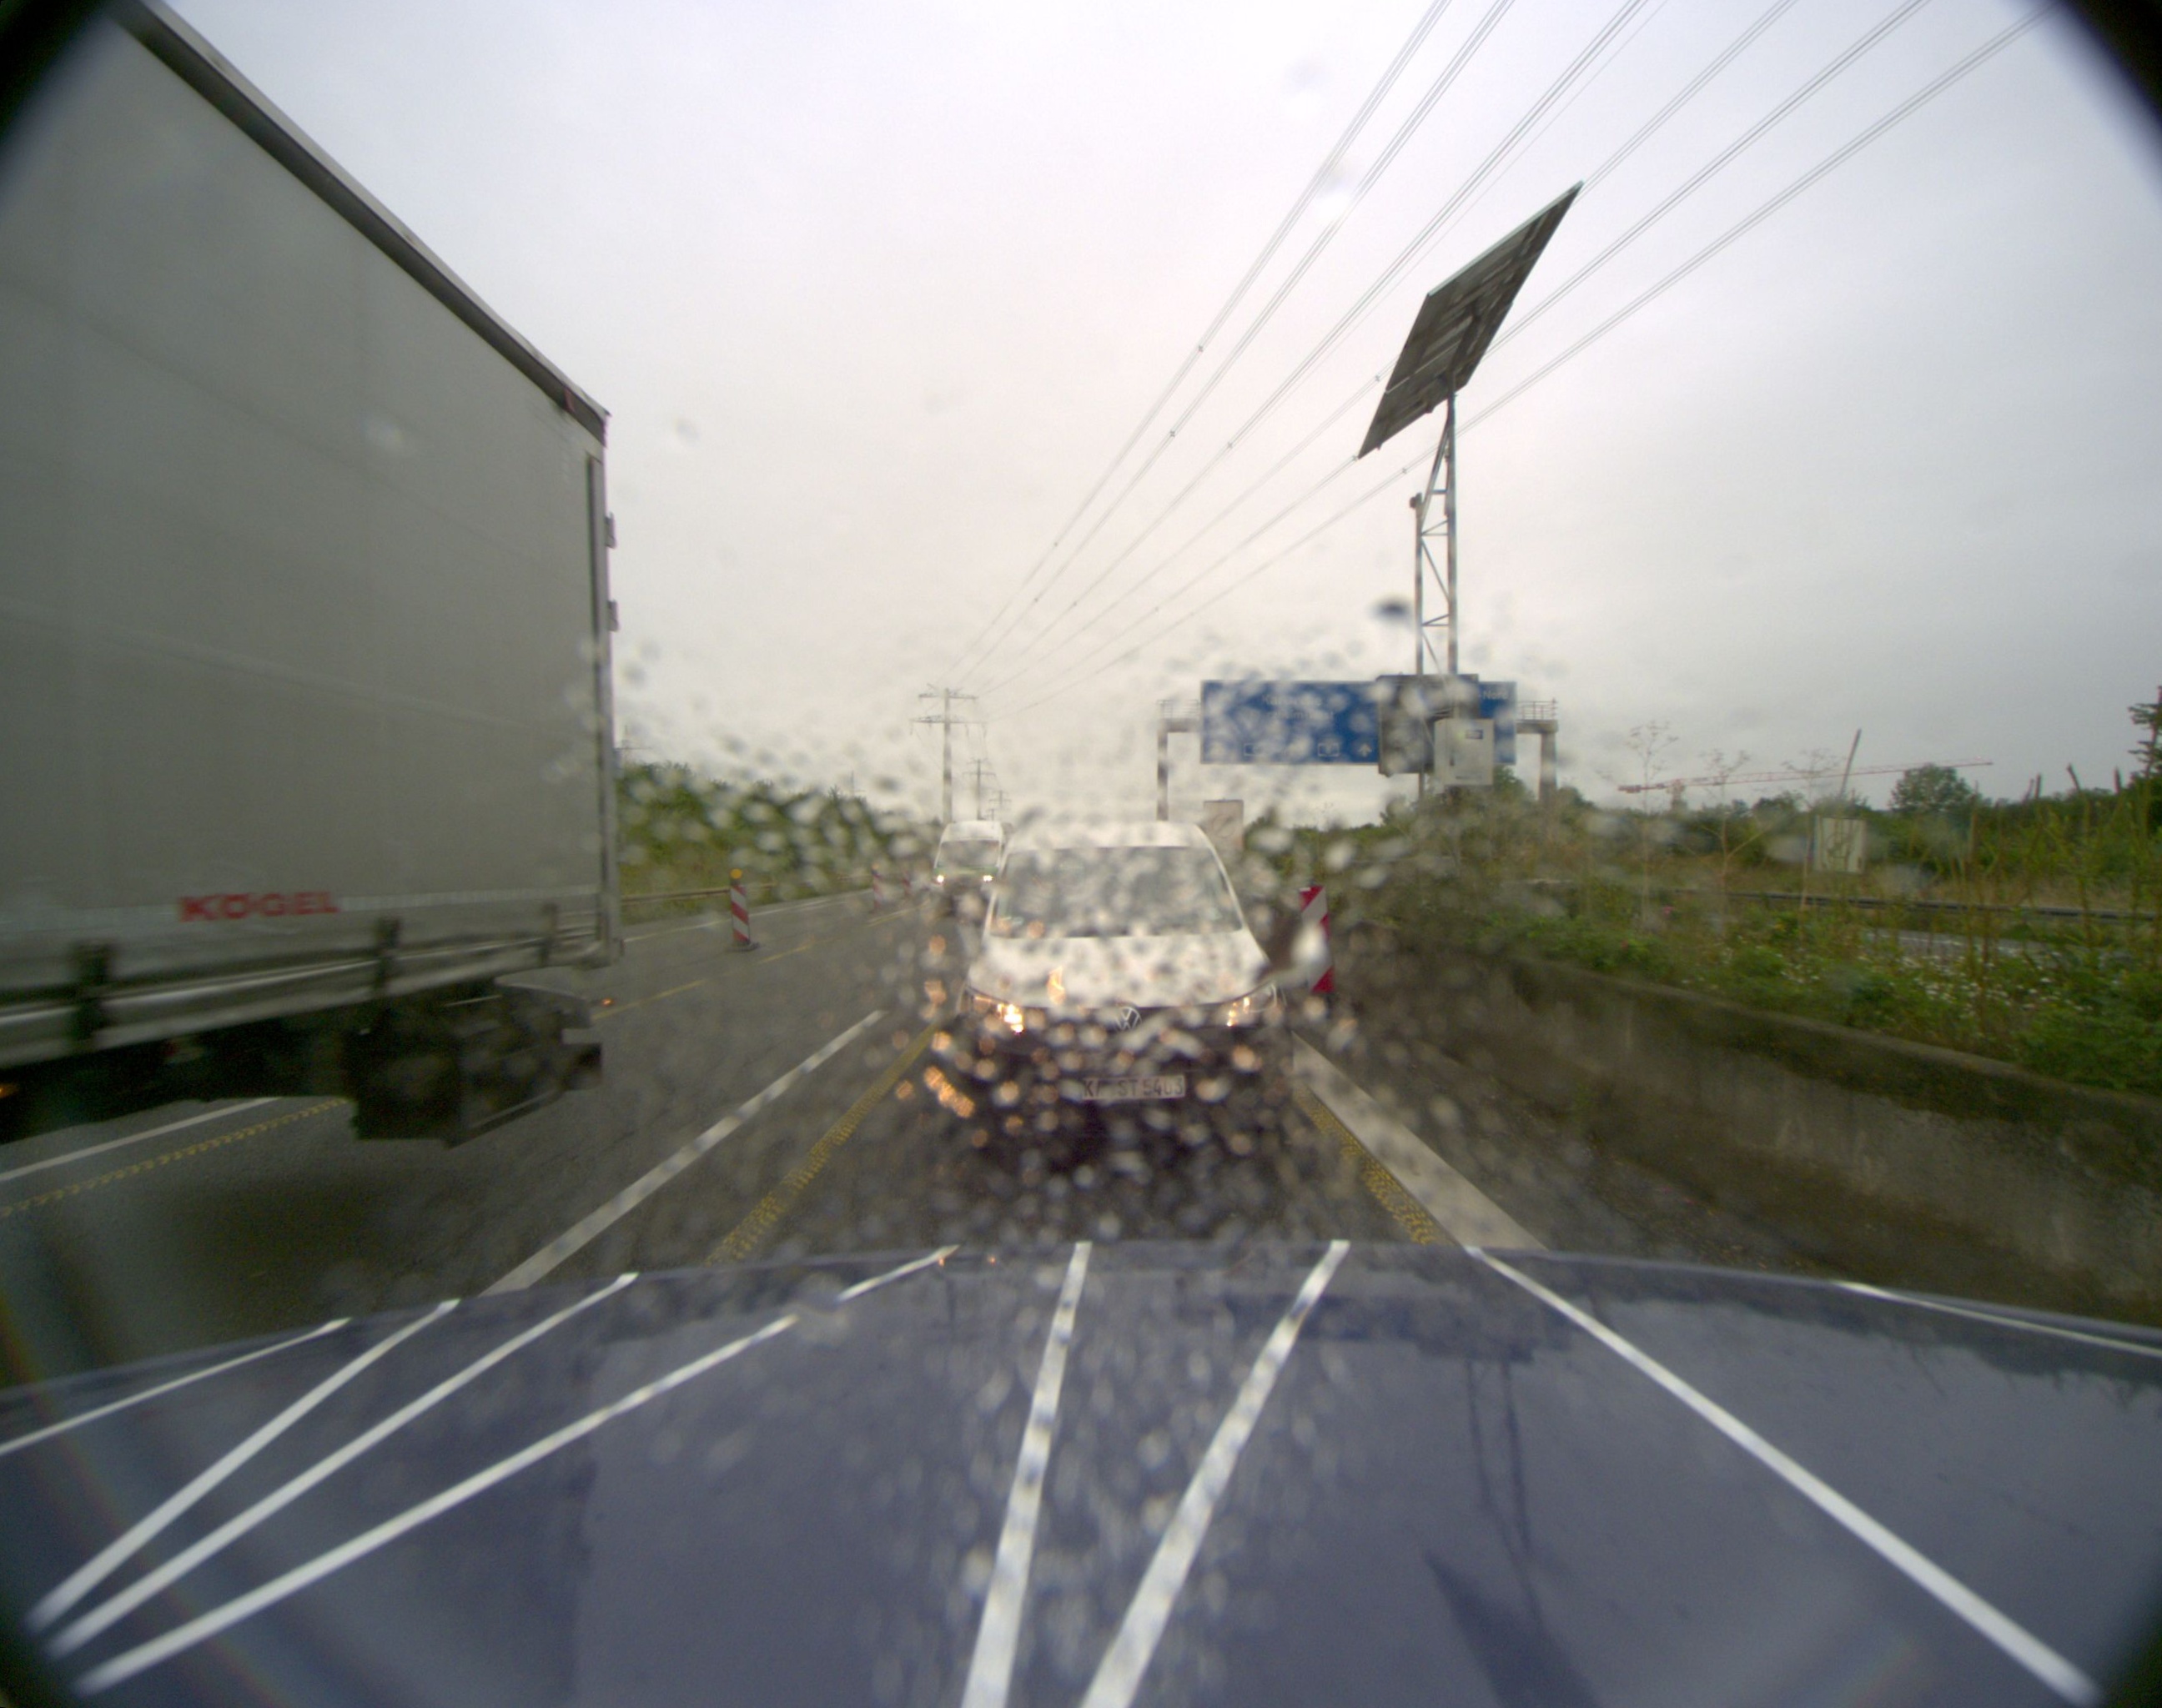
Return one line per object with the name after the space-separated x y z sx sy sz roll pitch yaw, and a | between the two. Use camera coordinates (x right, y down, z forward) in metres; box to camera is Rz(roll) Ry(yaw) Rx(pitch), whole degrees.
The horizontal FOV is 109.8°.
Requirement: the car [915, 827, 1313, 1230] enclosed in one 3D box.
0.181 0.793 5.635 1.768 1.803 4.345 -1 0 1 | car

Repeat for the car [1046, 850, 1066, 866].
-2.438 0.392 74.560 1.804 1.432 4.149 -1 0 -1 | car

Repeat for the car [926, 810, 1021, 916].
-3.072 0.237 22.947 1.998 2.766 5.756 -1 0 0 | car

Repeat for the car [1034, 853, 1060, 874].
-2.595 0.739 58.801 1.804 1.523 4.149 -1 0 -1 | car

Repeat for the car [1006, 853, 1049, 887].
-2.768 0.795 39.941 1.688 1.649 4.281 -1 0 3 | car

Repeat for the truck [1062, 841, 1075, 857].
-3.076 -1.230 187.126 2.875 4.007 8.309 -1 0 1 | truck
